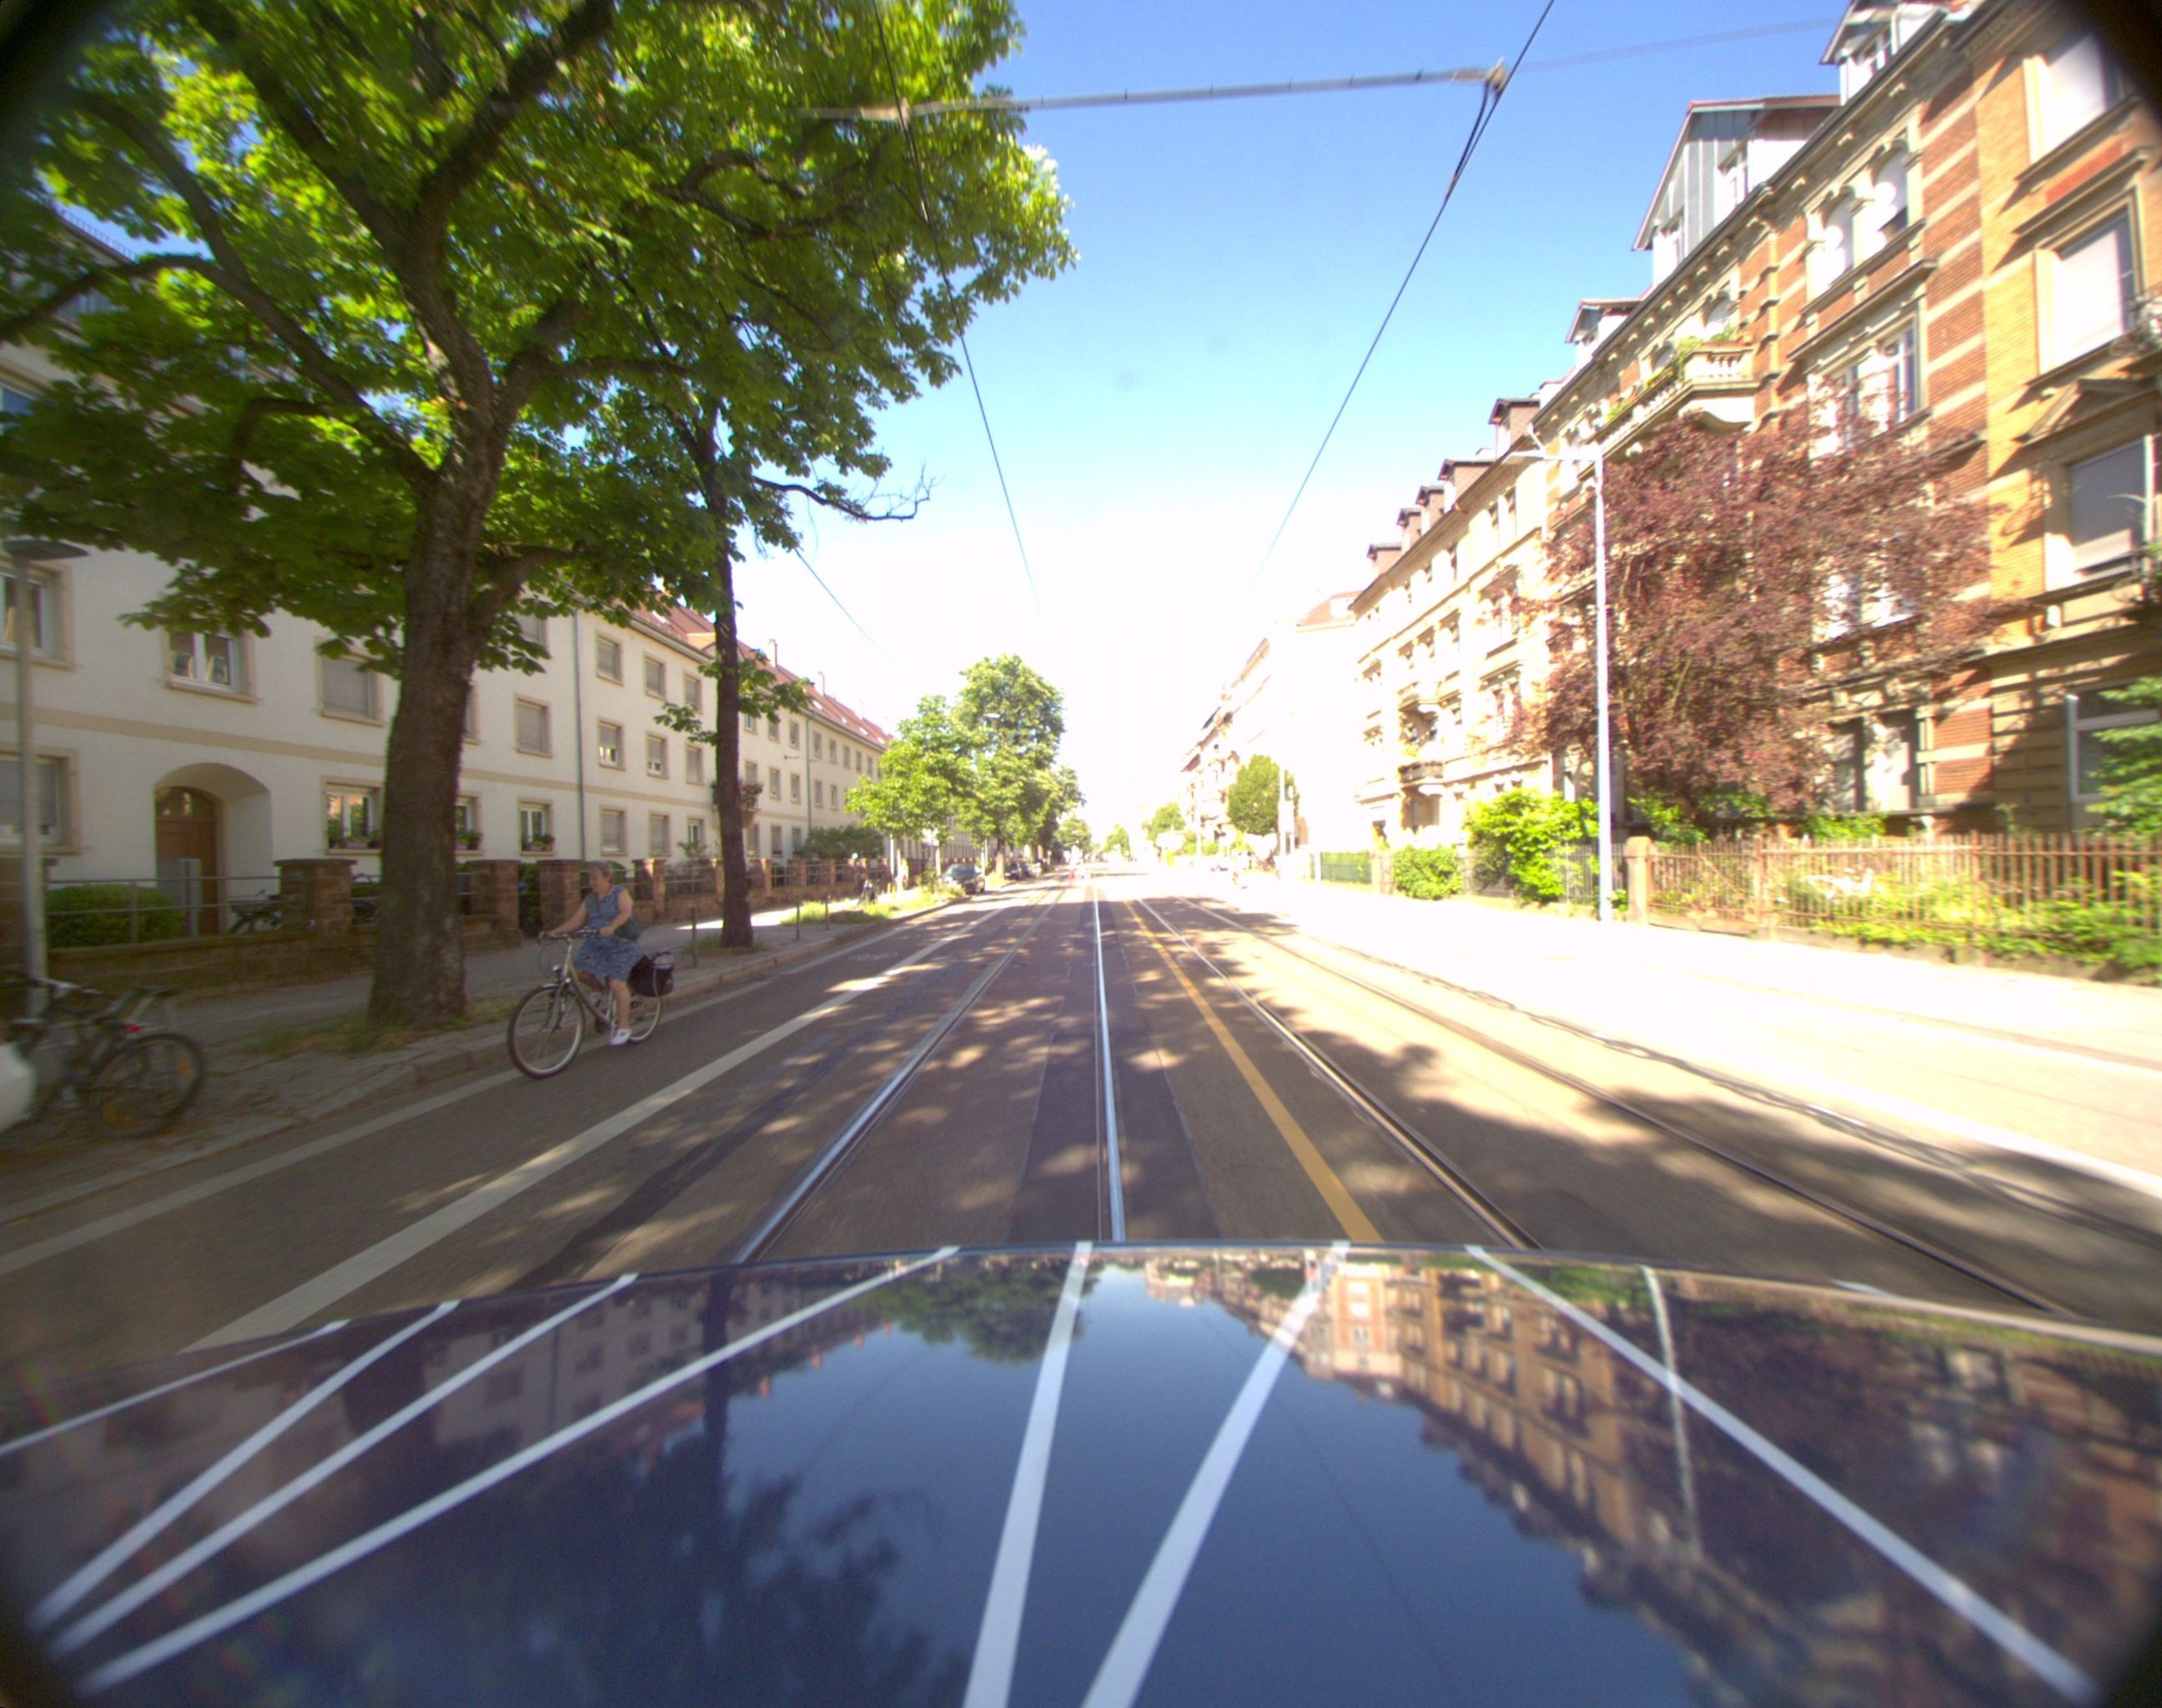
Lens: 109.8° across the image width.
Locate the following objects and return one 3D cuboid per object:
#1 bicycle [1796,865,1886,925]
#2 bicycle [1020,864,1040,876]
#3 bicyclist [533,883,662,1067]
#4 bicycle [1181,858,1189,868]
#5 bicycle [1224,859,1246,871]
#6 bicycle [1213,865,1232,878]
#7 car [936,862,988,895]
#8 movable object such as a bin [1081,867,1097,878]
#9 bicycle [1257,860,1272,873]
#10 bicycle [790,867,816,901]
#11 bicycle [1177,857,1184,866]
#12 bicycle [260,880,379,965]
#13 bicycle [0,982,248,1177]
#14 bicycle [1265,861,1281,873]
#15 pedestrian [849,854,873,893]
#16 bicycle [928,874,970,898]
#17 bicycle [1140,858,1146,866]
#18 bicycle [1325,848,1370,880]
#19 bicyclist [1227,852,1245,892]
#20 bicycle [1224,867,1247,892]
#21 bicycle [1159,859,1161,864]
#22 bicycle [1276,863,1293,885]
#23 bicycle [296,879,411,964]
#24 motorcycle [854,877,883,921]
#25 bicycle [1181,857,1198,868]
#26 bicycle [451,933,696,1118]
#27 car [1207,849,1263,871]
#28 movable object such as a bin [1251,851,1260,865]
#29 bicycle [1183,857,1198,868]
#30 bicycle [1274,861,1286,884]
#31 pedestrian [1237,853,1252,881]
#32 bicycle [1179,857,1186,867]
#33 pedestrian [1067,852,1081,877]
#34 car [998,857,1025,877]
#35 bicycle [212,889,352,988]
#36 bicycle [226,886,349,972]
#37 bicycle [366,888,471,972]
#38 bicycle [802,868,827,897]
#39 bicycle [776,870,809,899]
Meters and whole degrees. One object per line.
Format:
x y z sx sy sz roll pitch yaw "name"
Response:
13.022 0.699 13.033 1.150 0.966 0.295 -3 0 5 "bicycle"
-4.811 1.495 71.453 1.765 1.071 0.433 -3 0 2 "bicycle"
-4.123 1.005 6.520 0.637 1.459 0.616 -3 0 1 "bicyclist"
10.811 0.930 78.793 0.564 1.027 1.767 -3 0 0 "bicycle"
12.211 0.856 60.303 1.791 0.909 0.619 -3 2 -35 "bicycle"
10.573 1.272 56.621 1.297 0.909 0.619 -3 2 -35 "bicycle"
-5.659 1.132 36.547 1.791 1.455 4.044 -1 0 1 "car"
0.543 1.310 53.651 0.921 0.739 0.668 2 0 23 "movable object such as a bin"
14.059 0.968 58.247 0.619 0.909 1.297 0 2 39 "bicycle"
-11.036 1.176 30.214 0.349 1.254 1.426 -3 0 5 "bicycle"
11.120 0.846 85.121 0.564 1.027 1.768 -3 -1 2 "bicycle"
-12.013 1.042 12.044 0.435 1.216 1.373 -2 0 1 "bicycle"
-6.476 1.377 4.776 1.797 1.013 0.620 1 0 0 "bicycle"
15.238 1.018 60.288 1.545 0.909 0.246 -3 2 -35 "bicycle"
-9.778 0.868 33.825 0.763 1.714 0.581 -2 0 30 "pedestrian"
-5.890 1.419 33.895 1.798 1.061 0.620 0 0 -4 "bicycle"
6.855 0.892 83.903 0.461 0.920 2.203 0 0 1 "bicycle"
11.873 0.444 33.829 1.768 1.313 0.613 -3 0 -8 "bicycle"
6.978 0.797 34.318 0.662 1.791 0.616 1 1 1 "bicyclist"
6.990 1.134 34.438 0.693 1.106 1.718 0 0 1 "bicycle"
13.077 1.235 125.569 0.342 0.920 1.943 -3 0 6 "bicycle"
9.979 0.979 37.381 0.336 0.995 1.870 -3 0 1 "bicycle"
-11.514 1.032 12.082 0.435 1.216 1.373 -2 0 1 "bicycle"
-6.208 1.289 22.255 0.496 1.184 1.861 2 -1 -6 "motorcycle"
10.563 0.816 73.938 0.566 1.027 1.763 -2 -1 -35 "bicycle"
-4.137 1.335 6.422 0.693 1.106 1.917 -3 0 1 "bicycle"
13.108 0.502 64.885 4.456 1.634 1.967 -3 1 4 "car"
13.897 0.347 60.506 0.577 1.064 0.717 -3 0 15 "movable object such as a bin"
10.863 0.840 75.471 0.565 1.027 1.765 -6 0 -24 "bicycle"
10.216 0.943 38.963 0.371 1.119 0.809 -3 0 1 "bicycle"
10.328 0.827 47.870 0.830 1.714 1.083 -2 1 13 "pedestrian"
10.852 0.876 81.247 0.564 1.027 1.767 -3 0 0 "bicycle"
-0.506 0.769 53.974 0.602 1.760 0.911 1 0 -29 "pedestrian"
-5.225 0.974 57.433 1.724 1.465 4.246 0 0 0 "car"
-11.068 1.134 10.588 0.435 1.216 1.373 -2 0 1 "bicycle"
-12.520 1.153 12.039 0.435 1.216 1.373 -2 0 1 "bicycle"
-10.753 1.207 12.386 0.435 1.216 1.373 -2 0 1 "bicycle"
-11.141 1.184 31.795 0.442 1.146 1.574 -3 0 1 "bicycle"
-12.050 1.251 31.757 0.546 1.146 1.917 -3 0 1 "bicycle"
